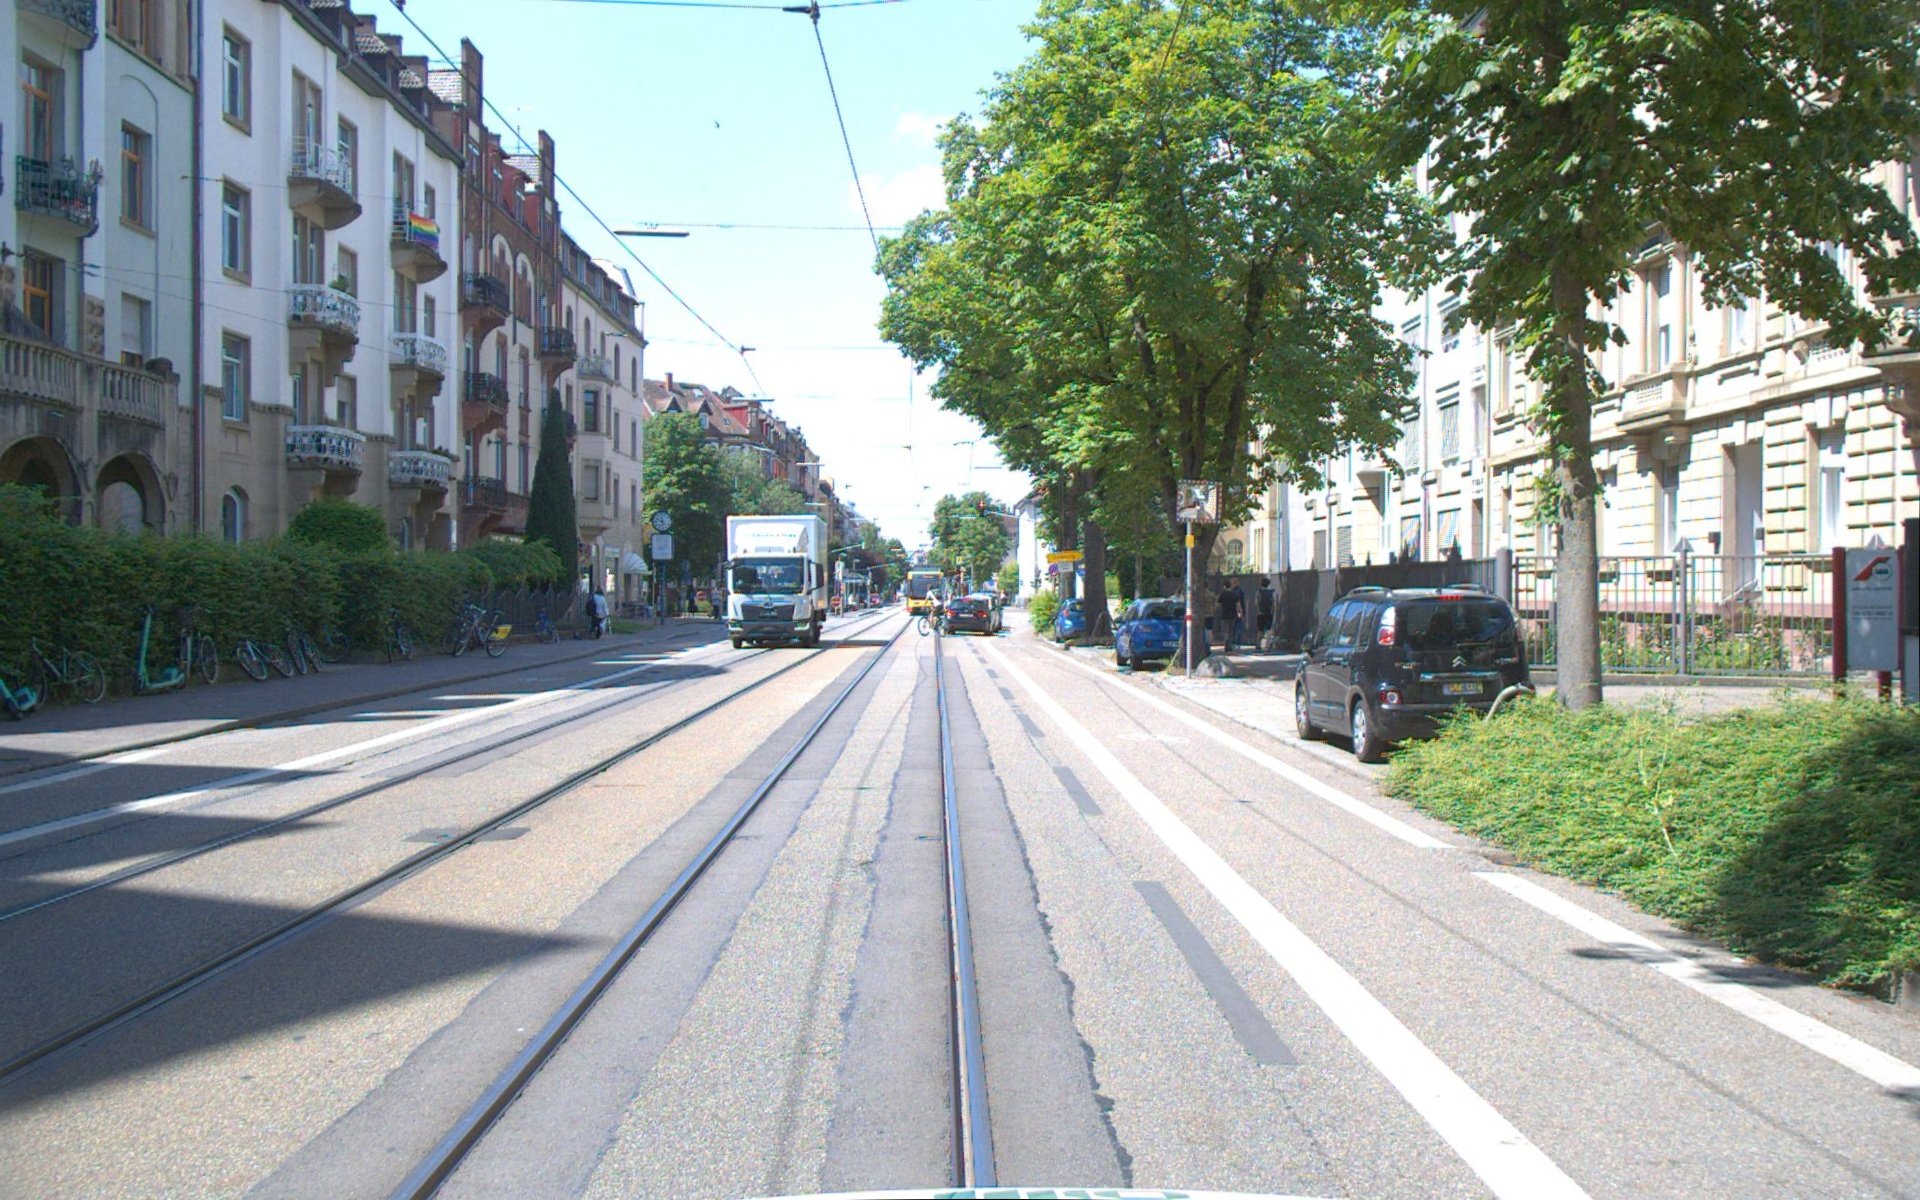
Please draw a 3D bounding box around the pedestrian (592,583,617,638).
[{"bbox_3d":[-10.684,0.316,49.689,0.561,1.644,0.816,0,0,-1],"label":"pedestrian"}]

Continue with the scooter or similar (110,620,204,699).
[{"bbox_3d":[-10.849,0.784,22.395,0.532,0.986,1.499,2,0,-1],"label":"scooter or similar"}]

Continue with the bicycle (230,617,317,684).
[{"bbox_3d":[-10.793,0.774,26.055,0.532,0.986,1.989,2,0,-1],"label":"bicycle"}]

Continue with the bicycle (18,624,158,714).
[{"bbox_3d":[-10.747,0.820,20.475,0.532,0.986,2.248,2,0,-1],"label":"bicycle"}]

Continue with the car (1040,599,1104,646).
[{"bbox_3d":[3.658,0.722,54.602,1.676,1.448,4.308,0,0,-2],"label":"car"}]

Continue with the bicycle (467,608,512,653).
[{"bbox_3d":[-10.936,0.697,38.521,0.532,0.986,1.781,2,1,-1],"label":"bicycle"}]

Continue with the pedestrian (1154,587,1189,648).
[{"bbox_3d":[5.442,0.462,42.515,0.791,1.557,0.624,0,-2,17],"label":"pedestrian"}]

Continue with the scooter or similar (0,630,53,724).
[{"bbox_3d":[-10.669,0.844,18.479,0.532,0.986,0.958,2,0,-1],"label":"scooter or similar"}]

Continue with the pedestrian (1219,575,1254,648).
[{"bbox_3d":[7.174,0.301,42.922,0.792,1.892,0.623,0,-2,-3],"label":"pedestrian"}]

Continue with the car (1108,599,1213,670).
[{"bbox_3d":[4.354,0.723,36.541,1.676,1.448,4.308,0,0,-2],"label":"car"}]

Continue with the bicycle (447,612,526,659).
[{"bbox_3d":[-10.181,0.778,35.627,0.532,0.986,1.778,1,-2,28],"label":"bicycle"}]

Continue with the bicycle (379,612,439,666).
[{"bbox_3d":[-10.907,0.754,32.789,0.532,0.986,1.990,2,1,-1],"label":"bicycle"}]

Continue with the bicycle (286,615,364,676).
[{"bbox_3d":[-10.791,0.766,28.172,0.532,0.986,1.989,2,-1,-1],"label":"bicycle"}]

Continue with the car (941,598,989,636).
[{"bbox_3d":[0.173,0.610,62.326,1.745,1.369,3.415,0,0,-1],"label":"car"}]

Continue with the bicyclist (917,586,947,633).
[{"bbox_3d":[-0.999,0.336,58.624,0.850,1.644,0.620,0,-2,43],"label":"bicyclist"}]

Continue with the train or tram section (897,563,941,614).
[{"bbox_3d":[-2.851,-0.817,118.678,2.973,3.498,11.969,0,0,0],"label":"train or tram section"}]

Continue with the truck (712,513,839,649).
[{"bbox_3d":[-5.223,-0.540,48.323,2.880,3.612,8.451,0,0,-1],"label":"truck"}]

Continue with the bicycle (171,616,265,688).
[{"bbox_3d":[-10.787,0.750,24.099,0.532,0.986,1.821,2,-1,-1],"label":"bicycle"}]

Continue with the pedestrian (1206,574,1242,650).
[{"bbox_3d":[6.625,0.309,41.578,0.792,1.892,0.576,0,-2,-3],"label":"pedestrian"}]

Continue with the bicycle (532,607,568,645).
[{"bbox_3d":[-11.201,0.694,45.271,0.532,0.986,1.780,2,0,-1],"label":"bicycle"}]

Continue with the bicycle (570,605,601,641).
[{"bbox_3d":[-11.244,0.673,49.683,0.532,0.986,1.781,2,1,-1],"label":"bicycle"}]

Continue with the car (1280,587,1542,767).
[{"bbox_3d":[4.543,0.716,17.233,1.560,1.645,3.906,0,0,-2],"label":"car"}]

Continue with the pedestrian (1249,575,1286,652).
[{"bbox_3d":[7.600,0.330,40.902,0.792,1.892,0.623,0,-2,-3],"label":"pedestrian"}]

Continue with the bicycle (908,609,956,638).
[{"bbox_3d":[-1.003,0.817,58.595,1.749,0.986,0.637,0,-2,43],"label":"bicycle"}]
